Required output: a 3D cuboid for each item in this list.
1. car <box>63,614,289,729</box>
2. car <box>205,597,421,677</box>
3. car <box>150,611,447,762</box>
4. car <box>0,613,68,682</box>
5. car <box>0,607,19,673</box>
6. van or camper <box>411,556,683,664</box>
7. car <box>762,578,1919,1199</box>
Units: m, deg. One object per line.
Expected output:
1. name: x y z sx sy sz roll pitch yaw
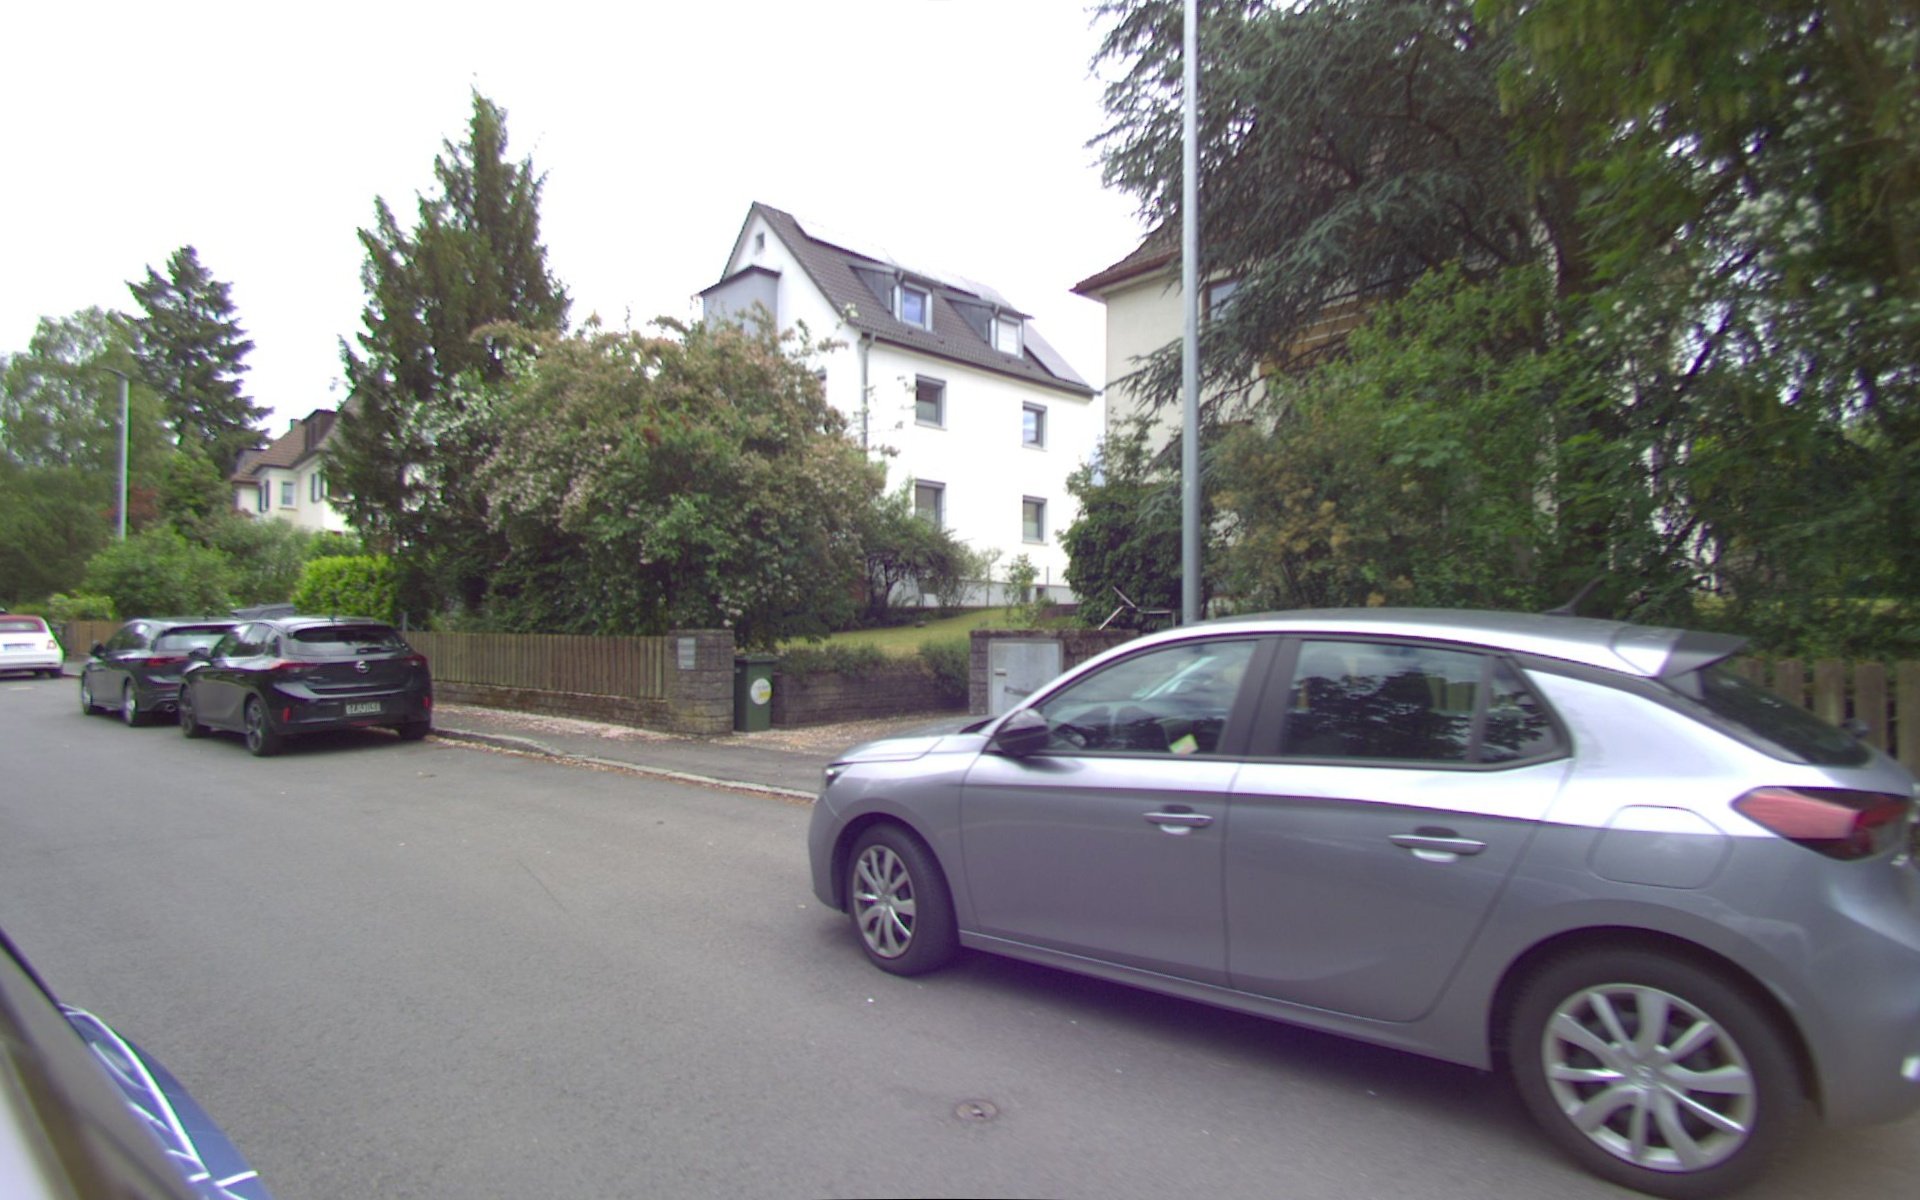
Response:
1. car: -11.495 0.939 14.751 4.144 1.427 1.690 -1 0 39
2. car: -14.524 0.773 22.793 3.935 1.559 1.846 -2 0 -37
3. car: -7.732 0.864 11.687 4.127 1.427 1.690 -1 0 39
4. car: -22.814 1.092 24.112 3.941 1.523 1.690 -1 0 39
5. car: -26.406 1.055 26.768 4.389 1.677 1.773 -1 0 41
6. van or camper: -11.345 0.172 28.241 6.599 2.671 2.327 -2 1 -42
7. car: 1.276 0.683 3.715 4.157 1.421 1.690 -1 0 40
